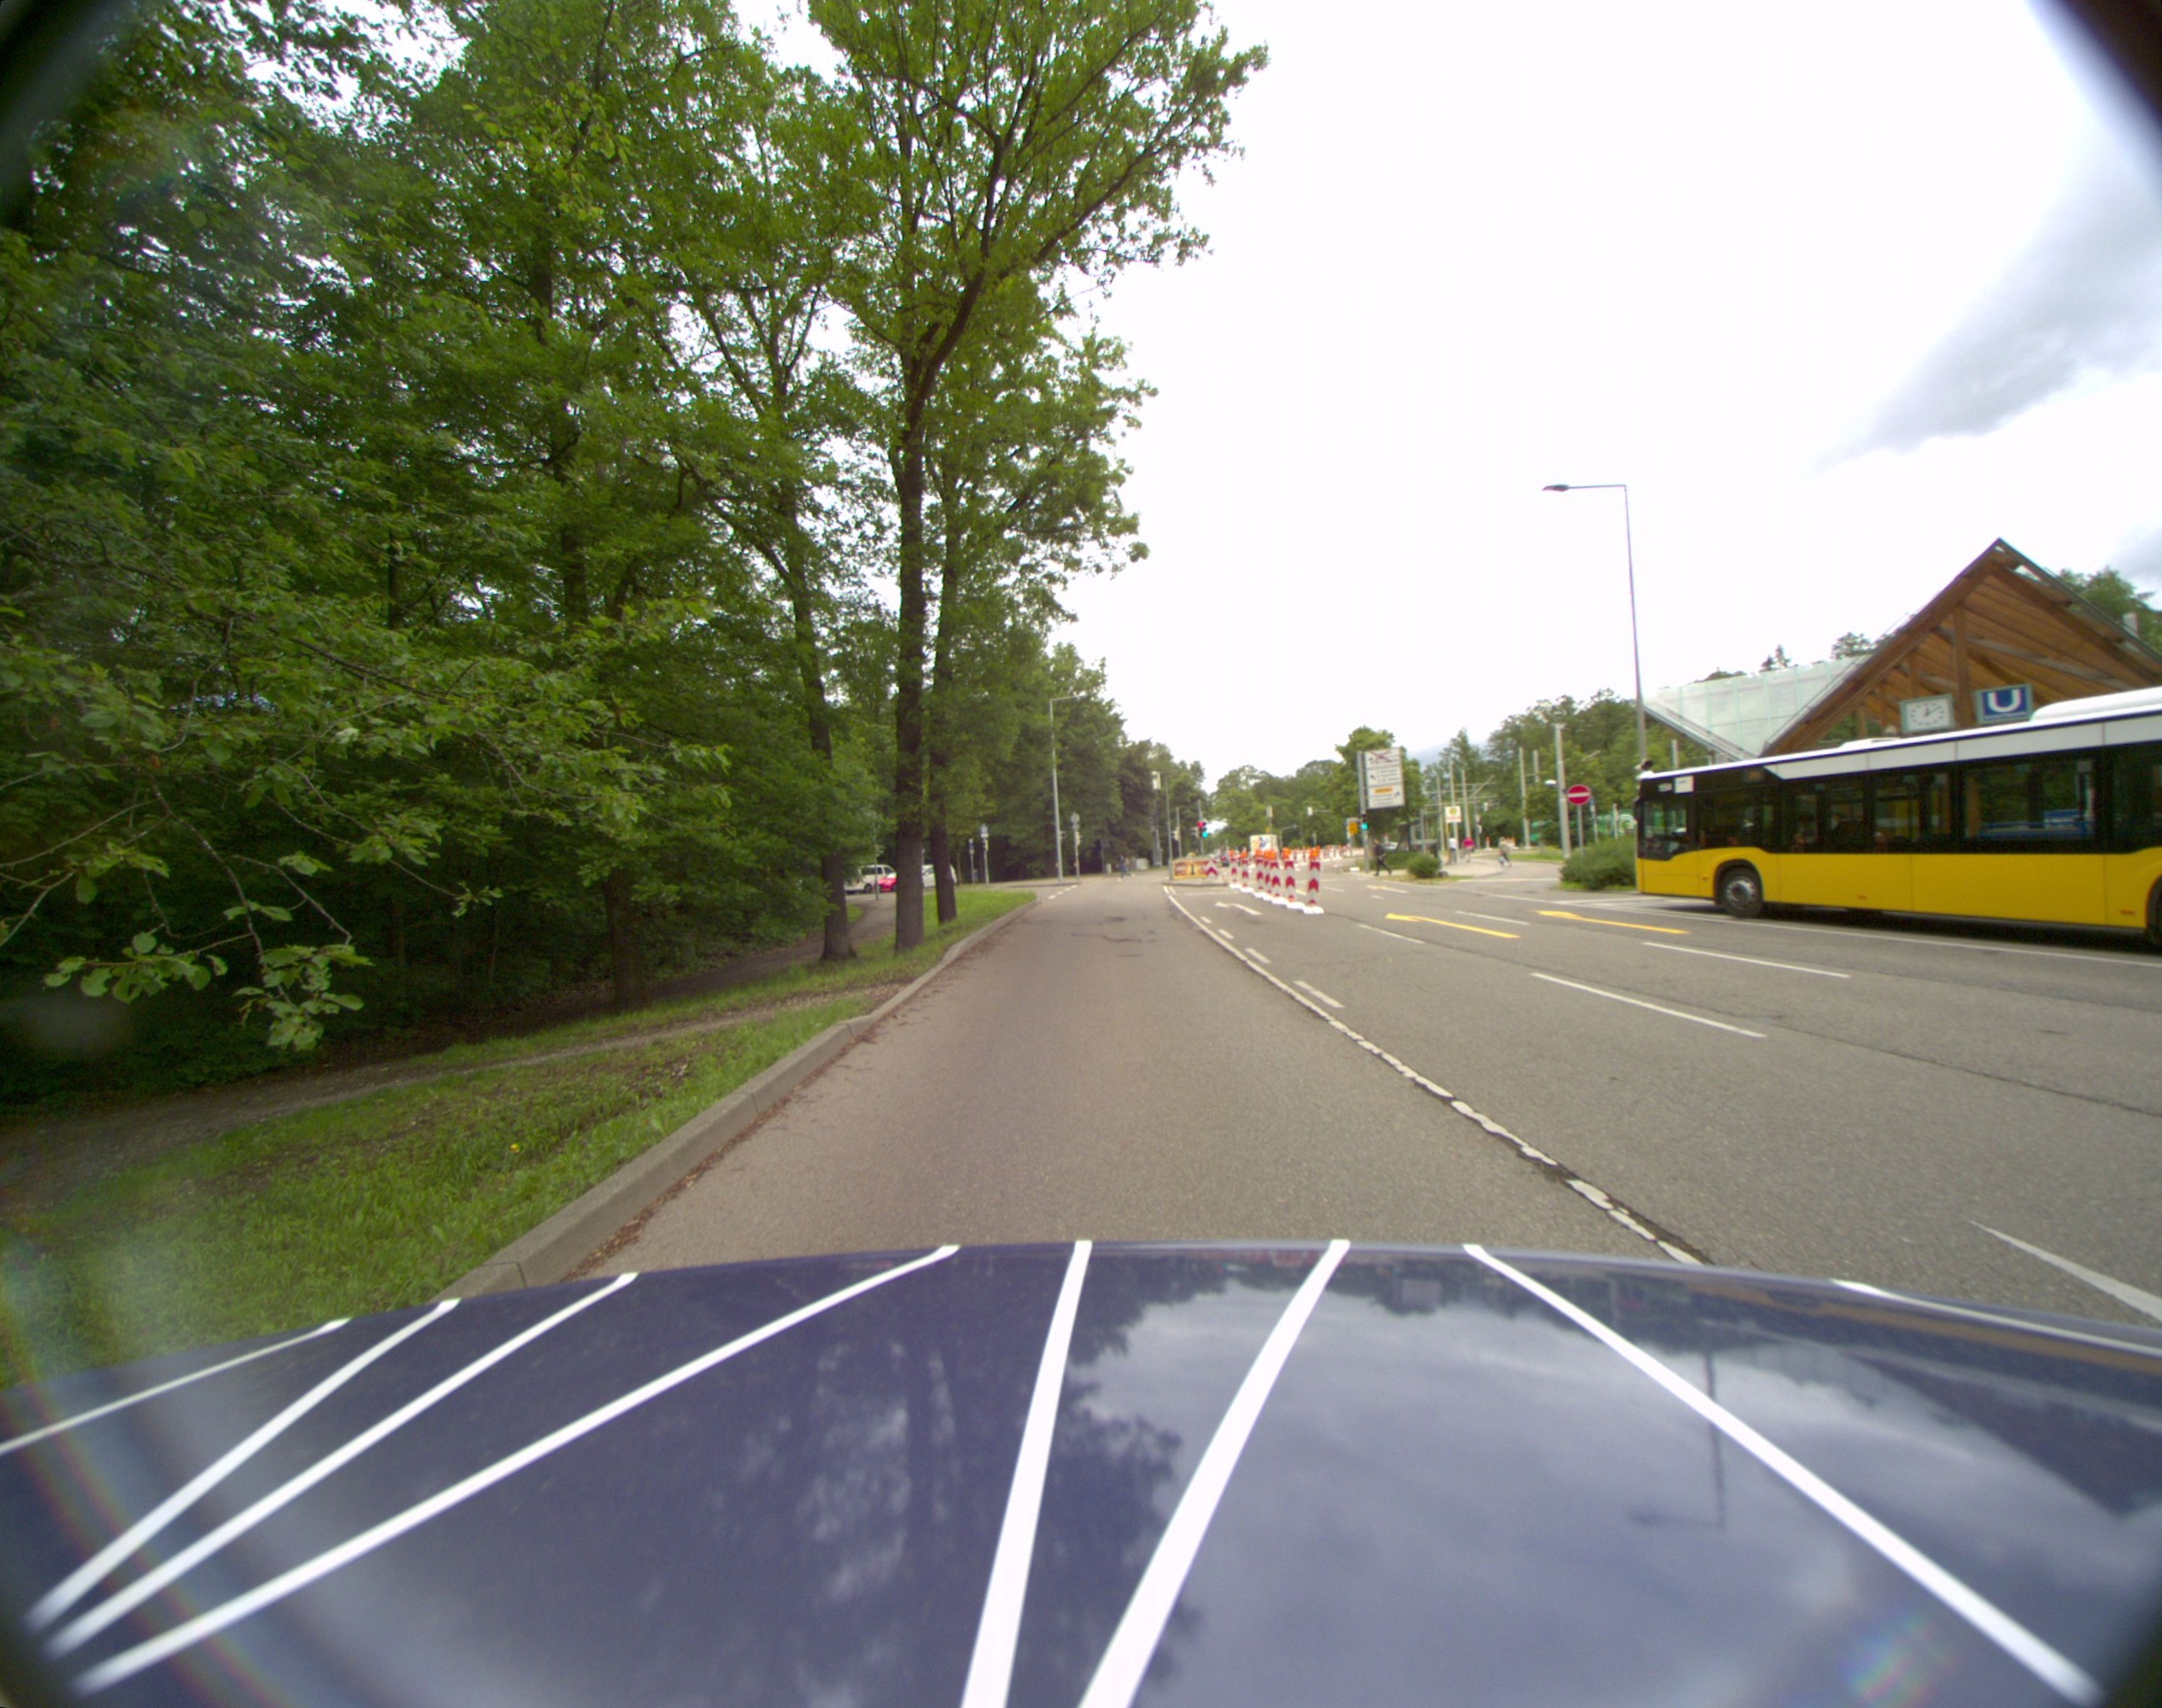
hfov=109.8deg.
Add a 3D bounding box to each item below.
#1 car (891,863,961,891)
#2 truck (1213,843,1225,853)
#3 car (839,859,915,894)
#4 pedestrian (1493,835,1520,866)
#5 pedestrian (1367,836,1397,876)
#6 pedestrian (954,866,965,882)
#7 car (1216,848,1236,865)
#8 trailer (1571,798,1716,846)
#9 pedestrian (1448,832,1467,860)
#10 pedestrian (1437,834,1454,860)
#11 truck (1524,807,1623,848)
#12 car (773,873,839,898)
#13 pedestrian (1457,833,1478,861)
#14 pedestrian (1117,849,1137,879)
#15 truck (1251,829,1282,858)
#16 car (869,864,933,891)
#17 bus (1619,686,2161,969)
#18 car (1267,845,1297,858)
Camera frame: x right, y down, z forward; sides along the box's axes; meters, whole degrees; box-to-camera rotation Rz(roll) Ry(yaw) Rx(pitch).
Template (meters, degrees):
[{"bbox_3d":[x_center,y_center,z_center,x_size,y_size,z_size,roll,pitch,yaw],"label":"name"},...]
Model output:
[{"bbox_3d":[-10.464,1.528,51.525,1.995,1.543,4.429,-5,-1,35],"label":"car"},{"bbox_3d":[44.555,-1.990,244.807,2.743,3.192,6.681,-4,-1,16],"label":"truck"},{"bbox_3d":[-14.578,1.579,54.633,2.058,1.946,5.191,-5,1,31],"label":"car"},{"bbox_3d":[22.368,-0.179,39.936,0.769,1.516,0.874,-4,0,-24],"label":"pedestrian"},{"bbox_3d":[14.257,0.093,36.006,0.992,1.798,0.768,-5,0,39],"label":"pedestrian"},{"bbox_3d":[-13.025,2.158,81.460,0.833,1.641,1.035,-4,0,-2],"label":"pedestrian"},{"bbox_3d":[14.052,0.202,73.767,1.811,1.500,4.310,-2,1,9],"label":"car"},{"bbox_3d":[57.887,-3.152,78.807,3.790,3.858,11.854,-4,-1,-18],"label":"trailer"},{"bbox_3d":[22.799,-0.472,45.970,0.684,1.655,0.871,-4,0,8],"label":"pedestrian"},{"bbox_3d":[22.482,-0.448,46.889,0.775,1.537,0.629,-4,1,13],"label":"pedestrian"},{"bbox_3d":[55.563,-2.890,86.025,3.790,3.858,8.761,-4,-1,-18],"label":"truck"},{"bbox_3d":[-20.967,2.366,58.141,1.839,1.548,4.540,-5,-1,28],"label":"car"},{"bbox_3d":[22.648,-0.406,44.510,0.791,1.542,0.776,-4,0,11],"label":"pedestrian"},{"bbox_3d":[2.679,0.589,44.111,1.092,1.666,0.911,-3,1,5],"label":"pedestrian"},{"bbox_3d":[22.257,-1.260,91.125,2.631,3.219,6.215,-1,1,22],"label":"truck"},{"bbox_3d":[-12.500,1.635,53.003,1.890,1.543,4.007,-5,-1,35],"label":"car"},{"bbox_3d":[13.351,-0.357,11.931,2.906,3.109,9.759,-2,0,1],"label":"bus"},{"bbox_3d":[34.147,-0.447,129.032,2.003,1.805,4.824,-4,-1,-29],"label":"car"}]
